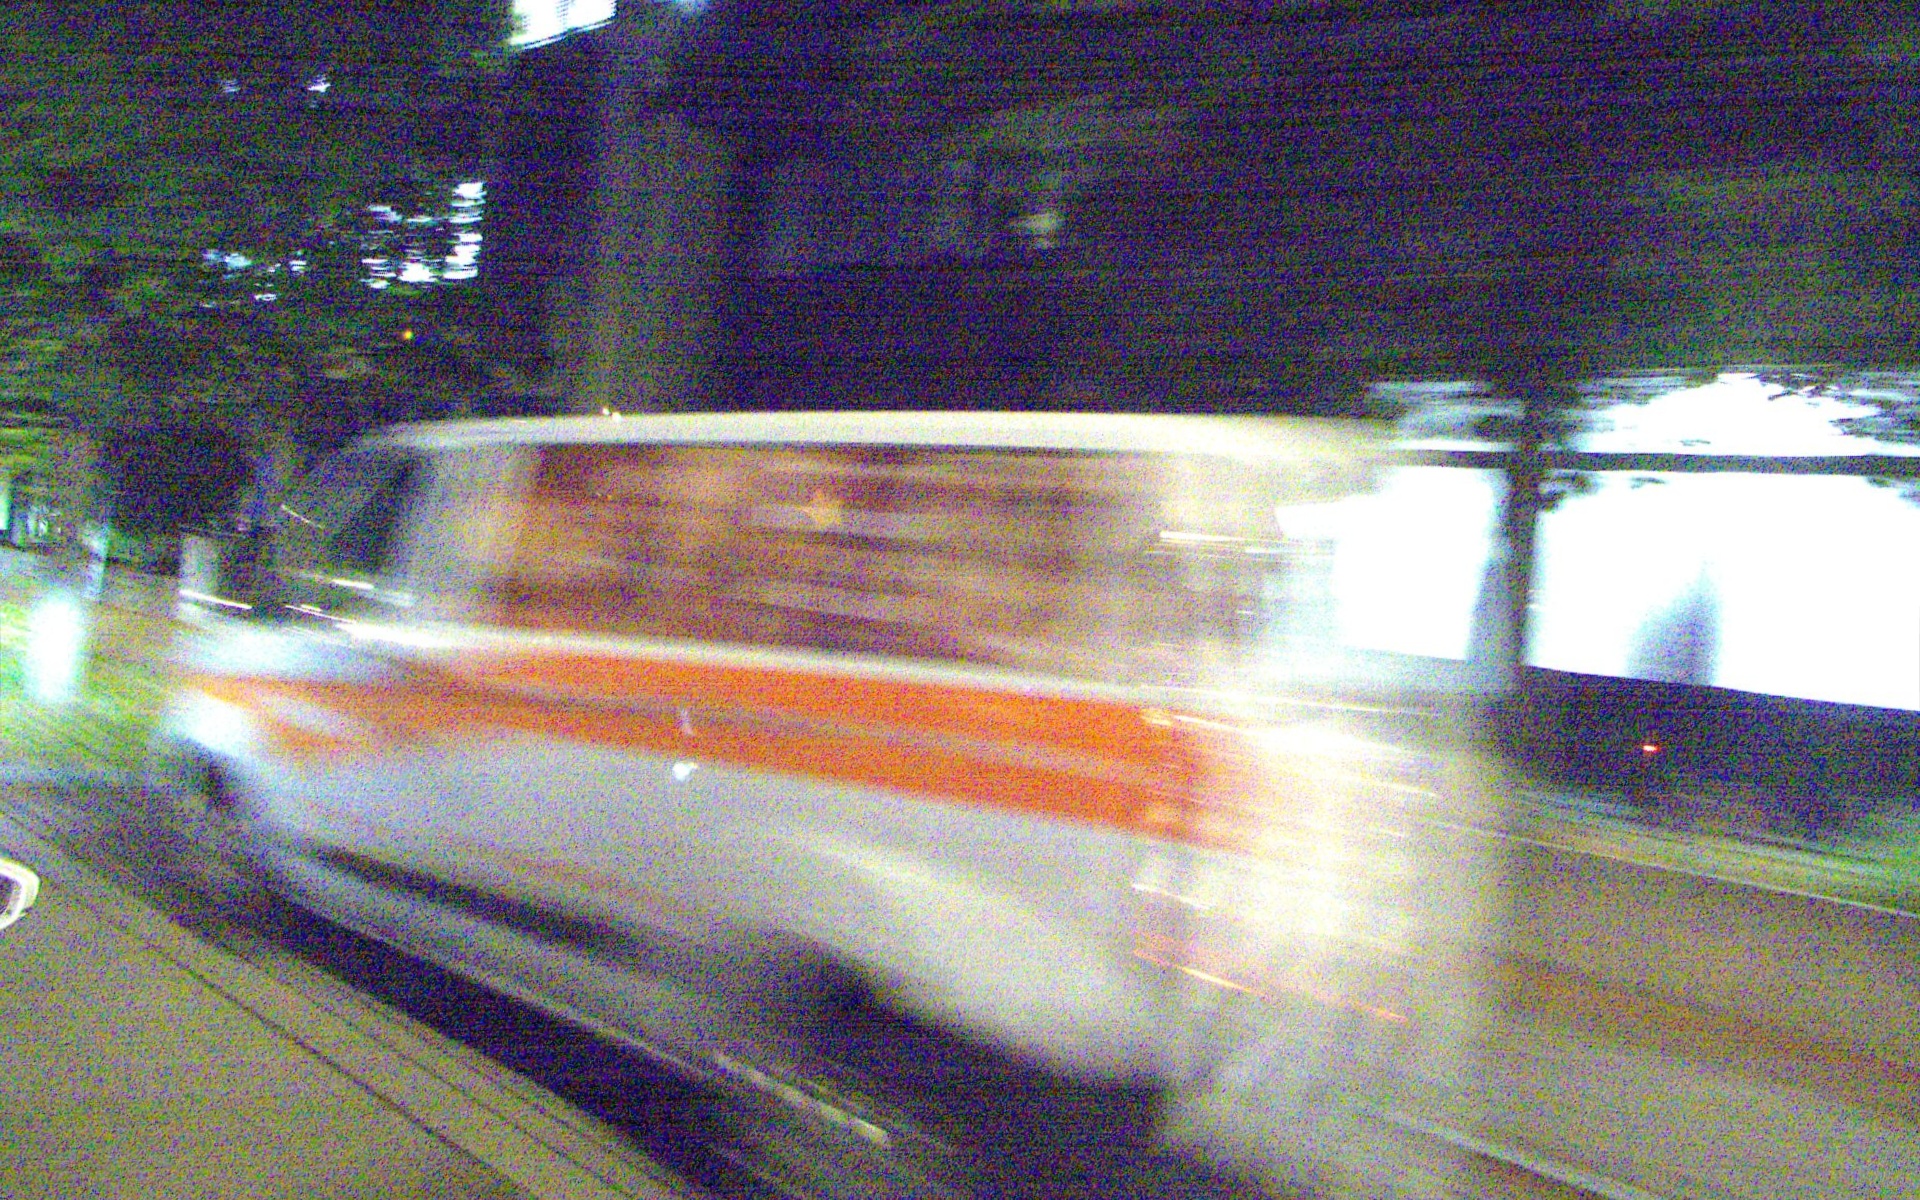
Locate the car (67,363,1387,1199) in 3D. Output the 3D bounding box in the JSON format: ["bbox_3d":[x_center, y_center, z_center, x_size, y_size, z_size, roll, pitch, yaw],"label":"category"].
[{"bbox_3d":[-1.068,0.416,3.758,4.526,1.988,1.954,7,0,30],"label":"car"}]
